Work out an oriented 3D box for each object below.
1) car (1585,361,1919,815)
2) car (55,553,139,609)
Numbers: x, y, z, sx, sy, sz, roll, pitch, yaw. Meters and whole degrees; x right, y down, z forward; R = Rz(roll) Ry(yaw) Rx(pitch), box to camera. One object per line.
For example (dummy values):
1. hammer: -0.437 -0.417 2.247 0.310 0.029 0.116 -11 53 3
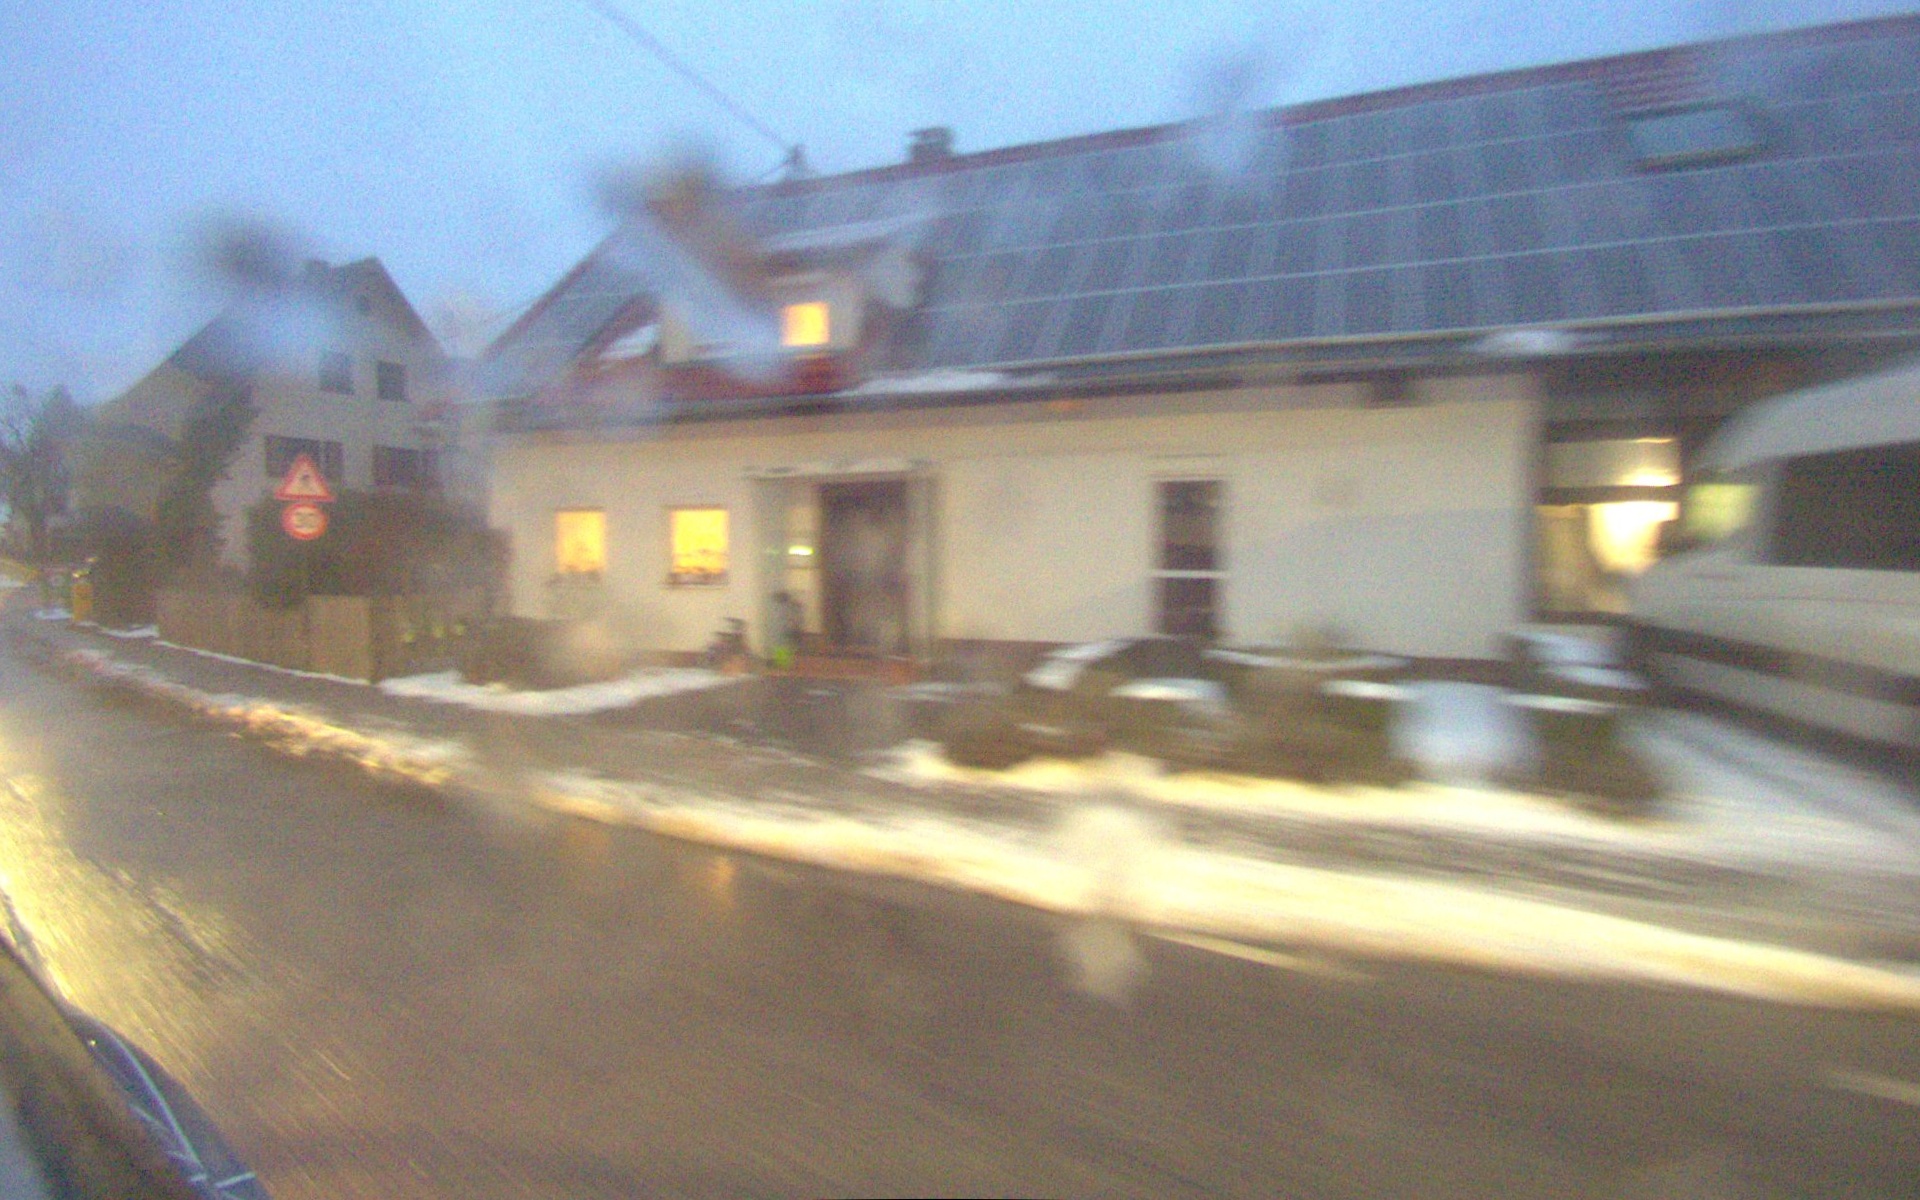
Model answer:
1. car: 6.667 -0.085 6.915 1.979 2.572 6.095 0 1 11
2. car: -35.221 -0.845 41.291 4.081 2.051 1.973 3 7 42
